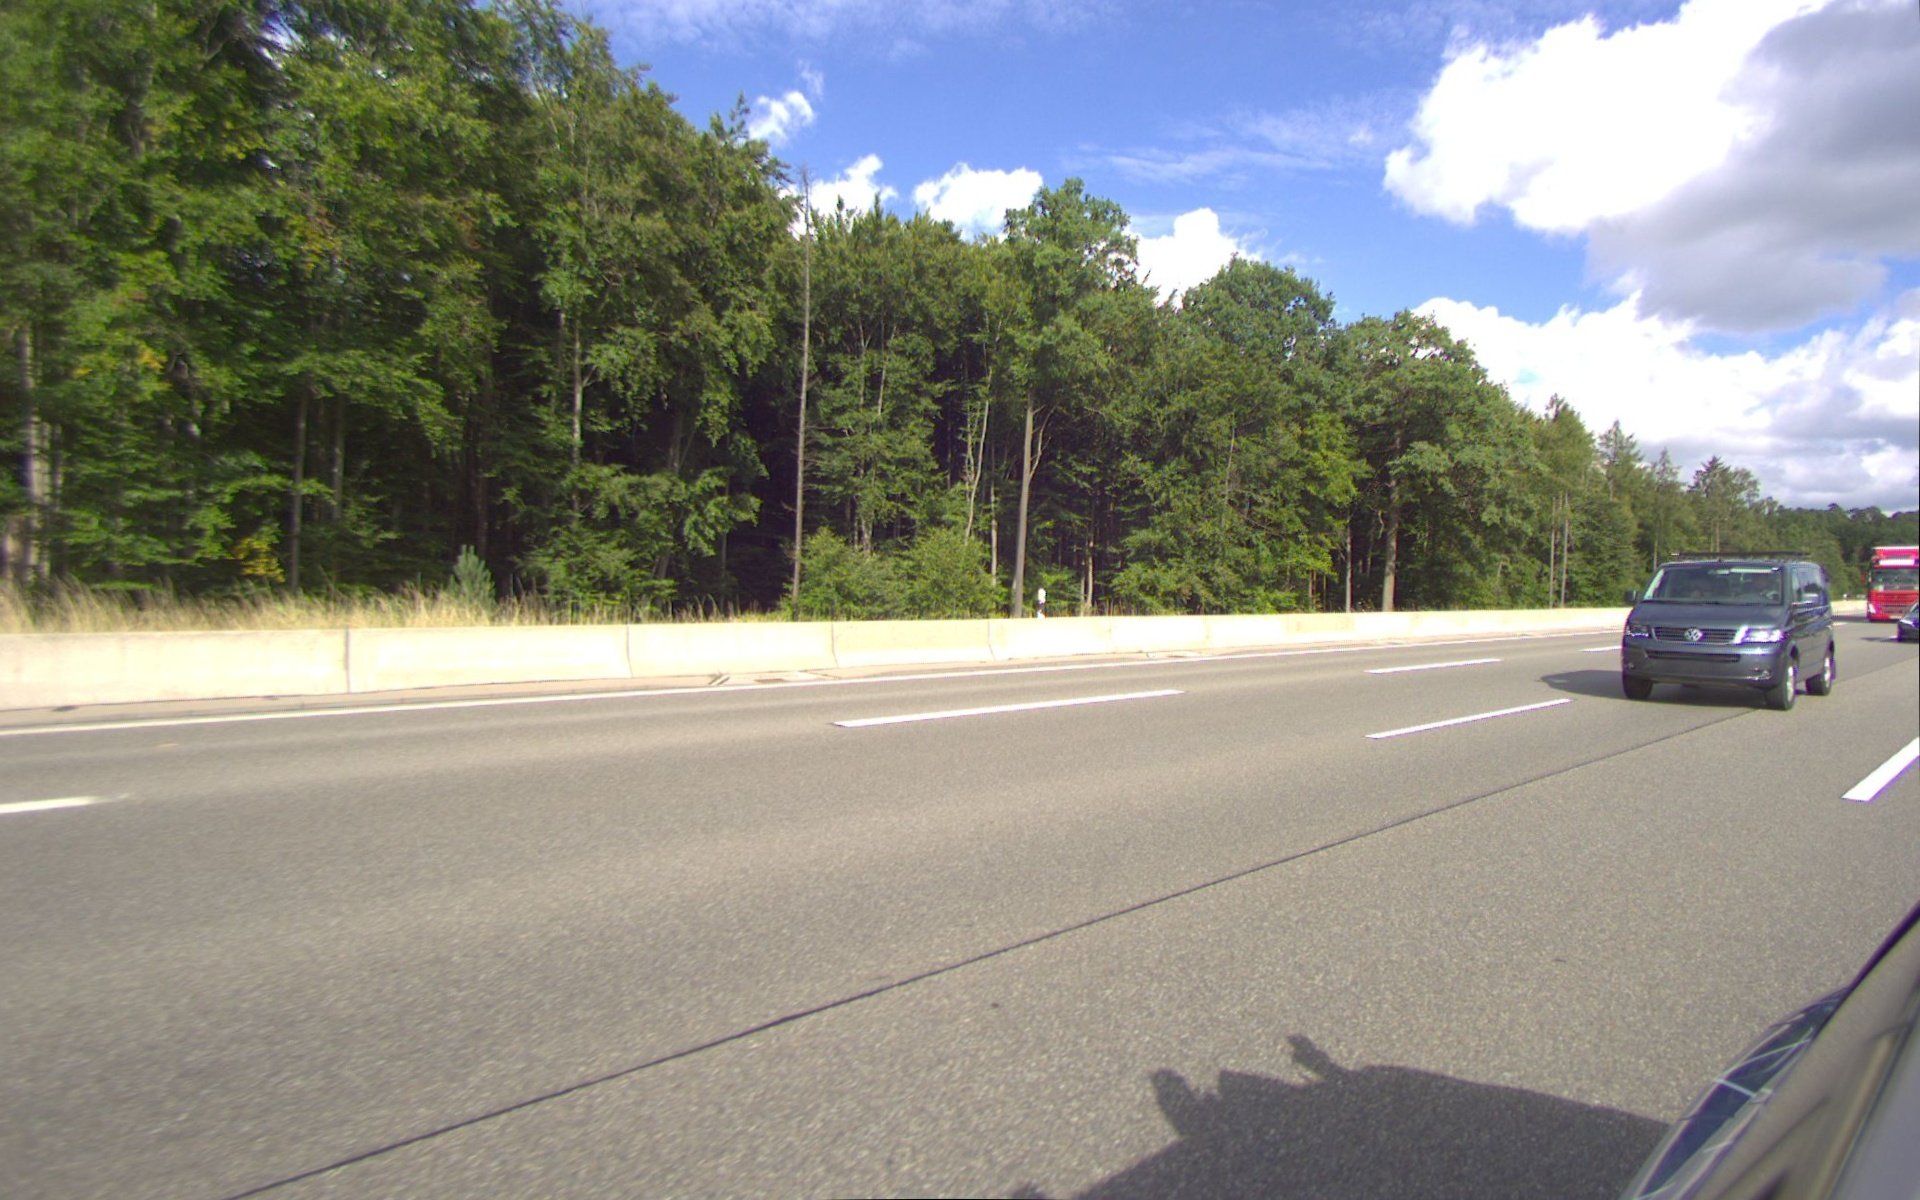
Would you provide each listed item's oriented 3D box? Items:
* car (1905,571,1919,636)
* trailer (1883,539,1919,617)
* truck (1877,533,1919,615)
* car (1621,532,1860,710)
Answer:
[{"bbox_3d":[32.170,0.122,32.654,3.929,2.039,1.998,0,1,-40],"label":"car"},{"bbox_3d":[56.661,-1.331,58.985,14.126,4.170,2.529,-2,2,-41],"label":"trailer"},{"bbox_3d":[51.482,-1.427,54.554,4.573,4.254,2.530,-1,2,-41],"label":"truck"},{"bbox_3d":[11.537,0.205,14.821,4.876,2.192,1.925,-1,2,-42],"label":"car"}]
